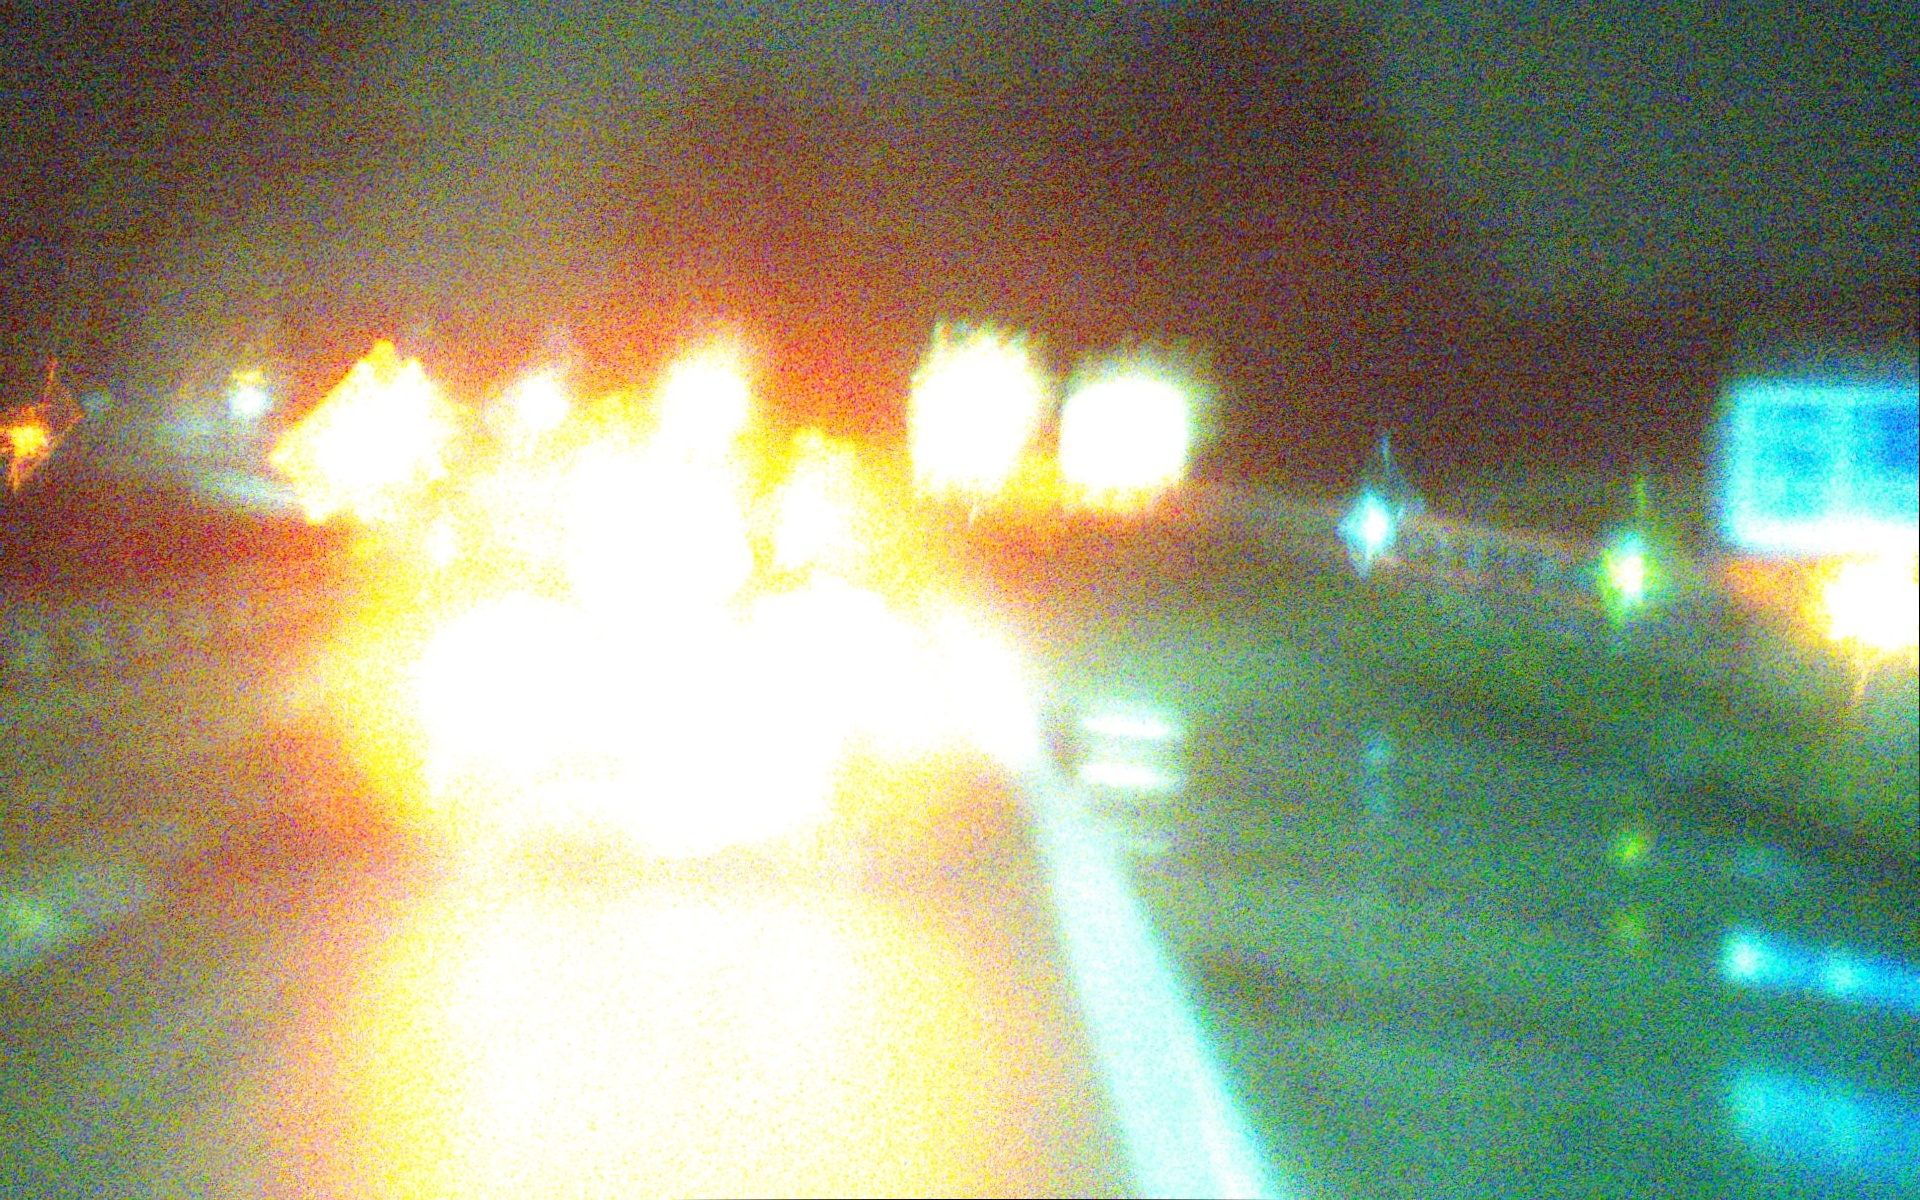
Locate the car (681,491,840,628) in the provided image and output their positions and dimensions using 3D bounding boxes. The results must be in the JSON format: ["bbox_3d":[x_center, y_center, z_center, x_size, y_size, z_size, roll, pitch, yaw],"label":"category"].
[{"bbox_3d":[-2.664,-0.548,45.169,1.895,1.714,4.046,0,1,-6],"label":"car"}]

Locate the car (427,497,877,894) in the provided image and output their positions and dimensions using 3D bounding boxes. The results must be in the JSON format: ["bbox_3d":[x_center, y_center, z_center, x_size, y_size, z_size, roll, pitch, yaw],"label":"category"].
[{"bbox_3d":[-1.397,0.347,16.323,1.860,1.641,4.069,0,1,-3],"label":"car"}]

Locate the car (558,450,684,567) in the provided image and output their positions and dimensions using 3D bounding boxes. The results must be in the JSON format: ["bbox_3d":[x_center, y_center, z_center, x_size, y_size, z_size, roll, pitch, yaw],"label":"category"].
[{"bbox_3d":[-6.163,-1.657,62.138,1.895,2.033,4.047,0,2,-11],"label":"car"}]

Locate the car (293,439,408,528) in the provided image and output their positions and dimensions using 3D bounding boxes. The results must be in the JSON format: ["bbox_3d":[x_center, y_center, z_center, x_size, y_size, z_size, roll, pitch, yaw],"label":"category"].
[{"bbox_3d":[-14.256,-2.715,80.286,1.895,1.991,4.047,0,2,-21],"label":"car"}]
